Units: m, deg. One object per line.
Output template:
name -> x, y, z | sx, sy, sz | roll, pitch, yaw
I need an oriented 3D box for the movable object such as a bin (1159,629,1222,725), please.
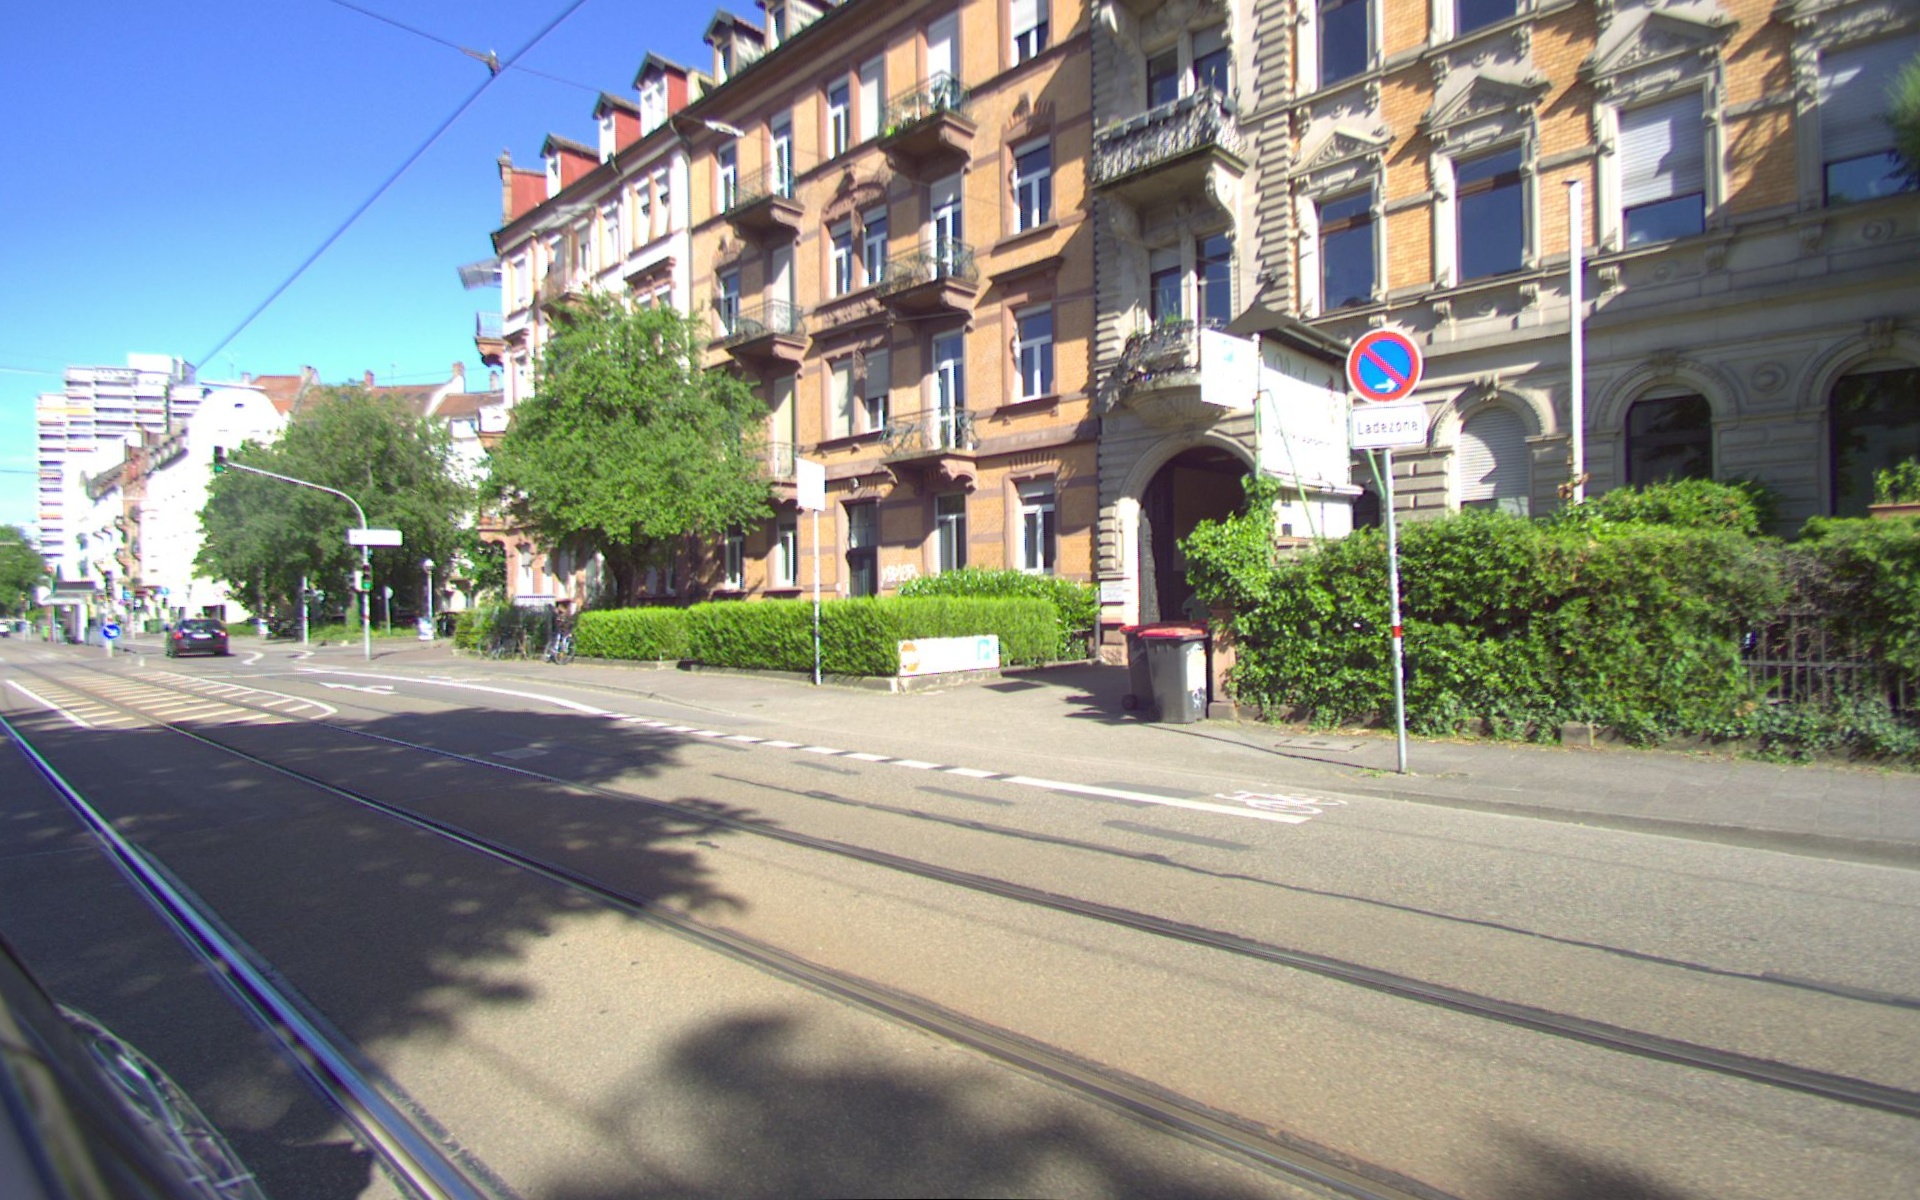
movable object such as a bin -> 2.765, 0.906, 12.134 | 0.541, 1.094, 0.474 | -2, 1, 45

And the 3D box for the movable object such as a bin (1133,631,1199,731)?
movable object such as a bin -> 2.381, 0.919, 11.715 | 0.541, 1.094, 0.474 | -2, 1, 45

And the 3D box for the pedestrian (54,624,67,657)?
pedestrian -> -50.123, 2.259, 56.400 | 0.673, 1.798, 0.460 | -2, -1, 42

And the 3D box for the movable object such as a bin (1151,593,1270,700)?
movable object such as a bin -> 3.729, 0.663, 15.062 | 1.171, 1.458, 1.304 | -2, 1, 45

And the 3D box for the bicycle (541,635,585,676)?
bicycle -> -9.804, 1.359, 24.951 | 0.338, 0.933, 1.945 | -2, 1, -42

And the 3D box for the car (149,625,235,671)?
car -> -29.114, 1.767, 38.302 | 4.968, 1.529, 1.812 | -2, 2, 44

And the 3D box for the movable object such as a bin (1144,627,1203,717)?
movable object such as a bin -> 2.744, 0.912, 13.024 | 0.541, 1.094, 0.474 | -2, 1, 45

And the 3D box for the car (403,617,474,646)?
car -> -35.011, 2.111, 67.975 | 3.965, 1.709, 1.693 | -3, 1, -39

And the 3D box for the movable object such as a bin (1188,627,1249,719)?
movable object such as a bin -> 3.210, 0.889, 12.558 | 0.541, 1.094, 0.474 | -2, 1, 45

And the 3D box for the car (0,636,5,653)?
car -> -90.378, 4.168, 94.524 | 1.670, 1.551, 3.802 | -2, 1, -43

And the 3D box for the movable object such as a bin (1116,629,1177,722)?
movable object such as a bin -> 2.315, 0.918, 12.581 | 0.541, 1.094, 0.474 | -2, 1, 45

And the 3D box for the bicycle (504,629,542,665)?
bicycle -> -12.081, 1.291, 27.966 | 0.338, 0.933, 1.945 | -2, 1, -42
